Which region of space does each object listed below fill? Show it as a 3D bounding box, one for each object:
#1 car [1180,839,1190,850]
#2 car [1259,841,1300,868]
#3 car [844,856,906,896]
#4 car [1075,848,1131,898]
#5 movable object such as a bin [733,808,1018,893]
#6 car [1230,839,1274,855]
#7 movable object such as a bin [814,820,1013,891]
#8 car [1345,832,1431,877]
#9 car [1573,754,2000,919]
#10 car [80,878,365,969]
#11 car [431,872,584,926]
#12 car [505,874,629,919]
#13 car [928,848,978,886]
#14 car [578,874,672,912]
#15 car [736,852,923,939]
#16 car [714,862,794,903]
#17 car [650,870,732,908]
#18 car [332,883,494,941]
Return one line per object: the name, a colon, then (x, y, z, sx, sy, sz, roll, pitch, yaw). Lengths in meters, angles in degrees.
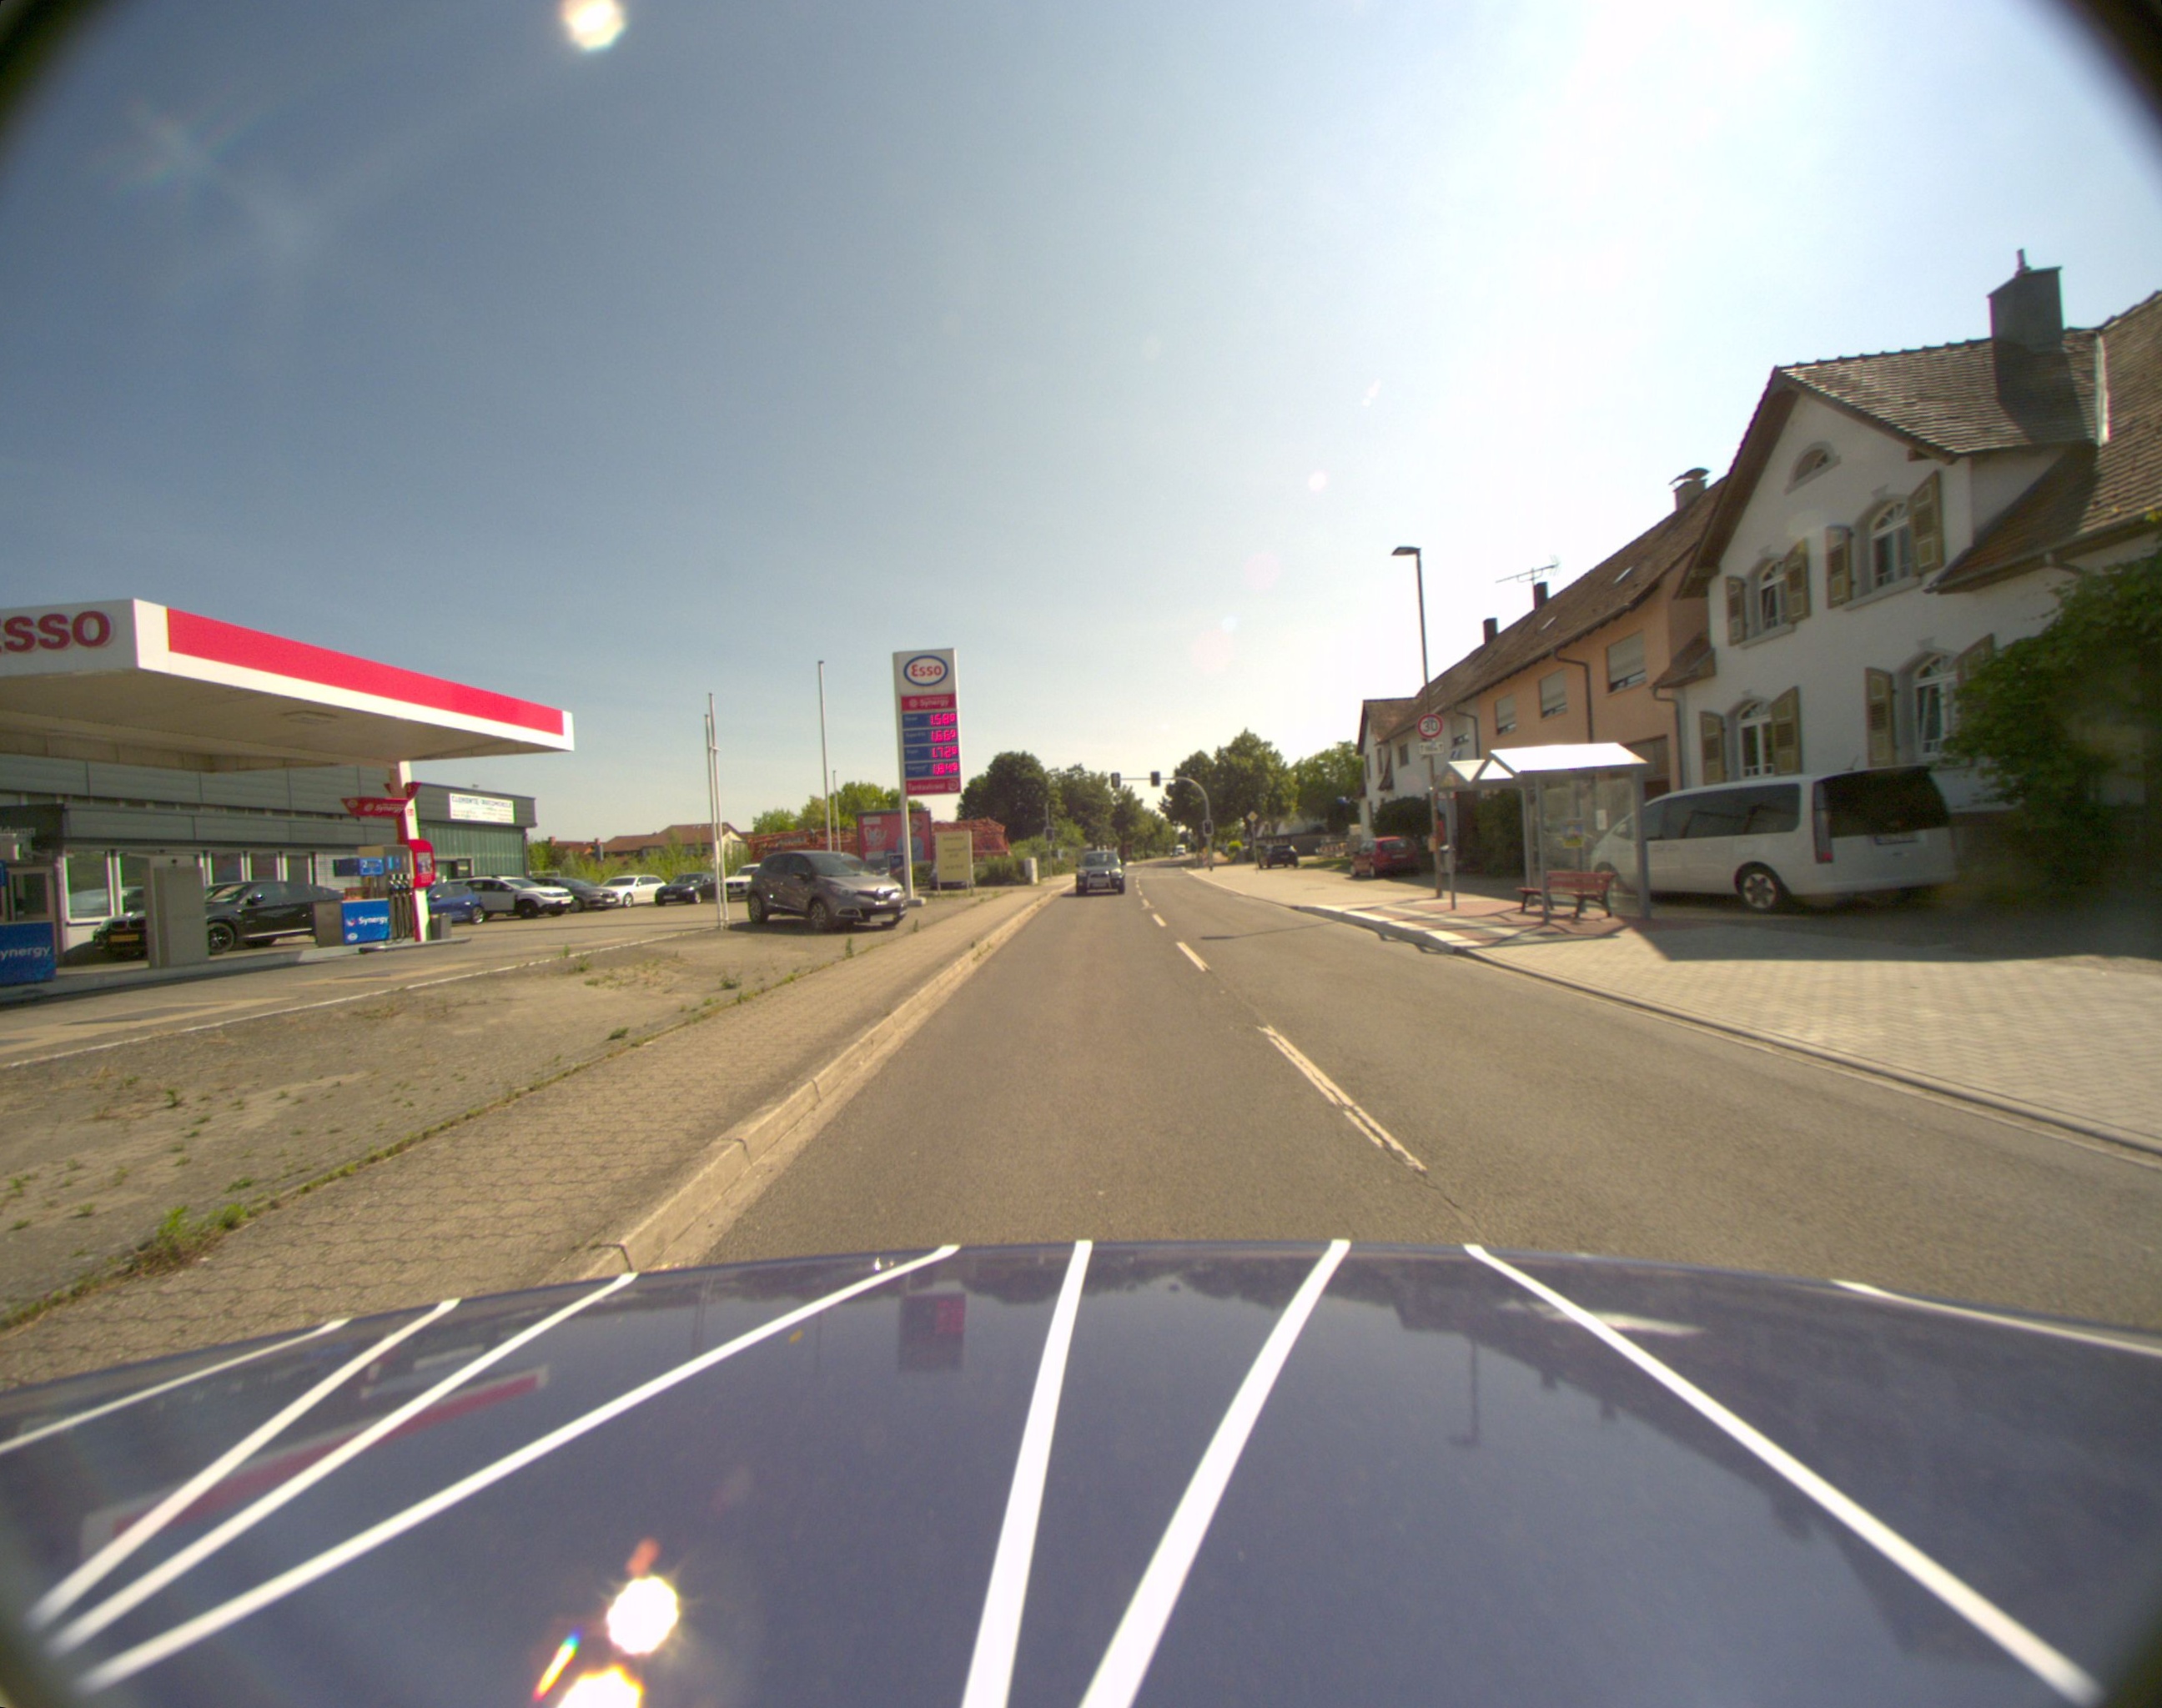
car: (23.829, -2.152, 173.656, 1.937, 2.488, 5.840, -3, 1, 8)
car: (12.112, -0.005, 46.616, 1.718, 1.399, 4.398, -3, 2, 5)
car: (-9.628, 0.991, 35.816, 1.975, 1.583, 3.998, -3, 1, -4)
car: (0.941, 0.693, 29.600, 1.848, 1.686, 4.399, -4, -1, 4)
movable object such as a bin: (-12.058, -0.194, 45.397, 16.091, 3.995, 2.773, -3, 1, 1)
car: (17.949, -0.714, 79.663, 3.989, 1.496, 2.004, -3, 1, 37)
movable object such as a bin: (-11.719, 0.095, 53.902, 13.286, 4.141, 2.863, -3, 1, 1)
car: (11.370, 0.037, 28.393, 1.718, 1.444, 3.916, -5, -1, 3)
car: (10.865, -0.277, 12.495, 2.131, 1.975, 5.264, -4, 1, 1)
car: (-20.398, 1.537, 18.475, 1.810, 1.731, 4.816, -4, -1, -8)
car: (-21.141, 1.642, 28.138, 4.152, 1.625, 1.811, -3, 1, -2)
car: (-20.835, 1.698, 30.934, 3.688, 1.465, 1.811, -3, 1, -2)
car: (-6.177, 0.642, 37.138, 1.809, 1.676, 4.368, -2, -1, -2)
car: (-20.836, 1.722, 34.964, 1.846, 1.379, 4.374, -3, 1, -4)
car: (-5.319, 0.766, 15.817, 4.170, 1.546, 1.778, -1, 1, 41)
car: (-15.175, 1.286, 35.528, 2.004, 1.583, 4.336, -3, 1, -4)
car: (-17.790, 1.550, 34.866, 1.846, 1.379, 3.998, -3, 1, -4)
car: (-21.182, 1.777, 24.351, 1.798, 1.423, 4.124, -3, 1, -7)
